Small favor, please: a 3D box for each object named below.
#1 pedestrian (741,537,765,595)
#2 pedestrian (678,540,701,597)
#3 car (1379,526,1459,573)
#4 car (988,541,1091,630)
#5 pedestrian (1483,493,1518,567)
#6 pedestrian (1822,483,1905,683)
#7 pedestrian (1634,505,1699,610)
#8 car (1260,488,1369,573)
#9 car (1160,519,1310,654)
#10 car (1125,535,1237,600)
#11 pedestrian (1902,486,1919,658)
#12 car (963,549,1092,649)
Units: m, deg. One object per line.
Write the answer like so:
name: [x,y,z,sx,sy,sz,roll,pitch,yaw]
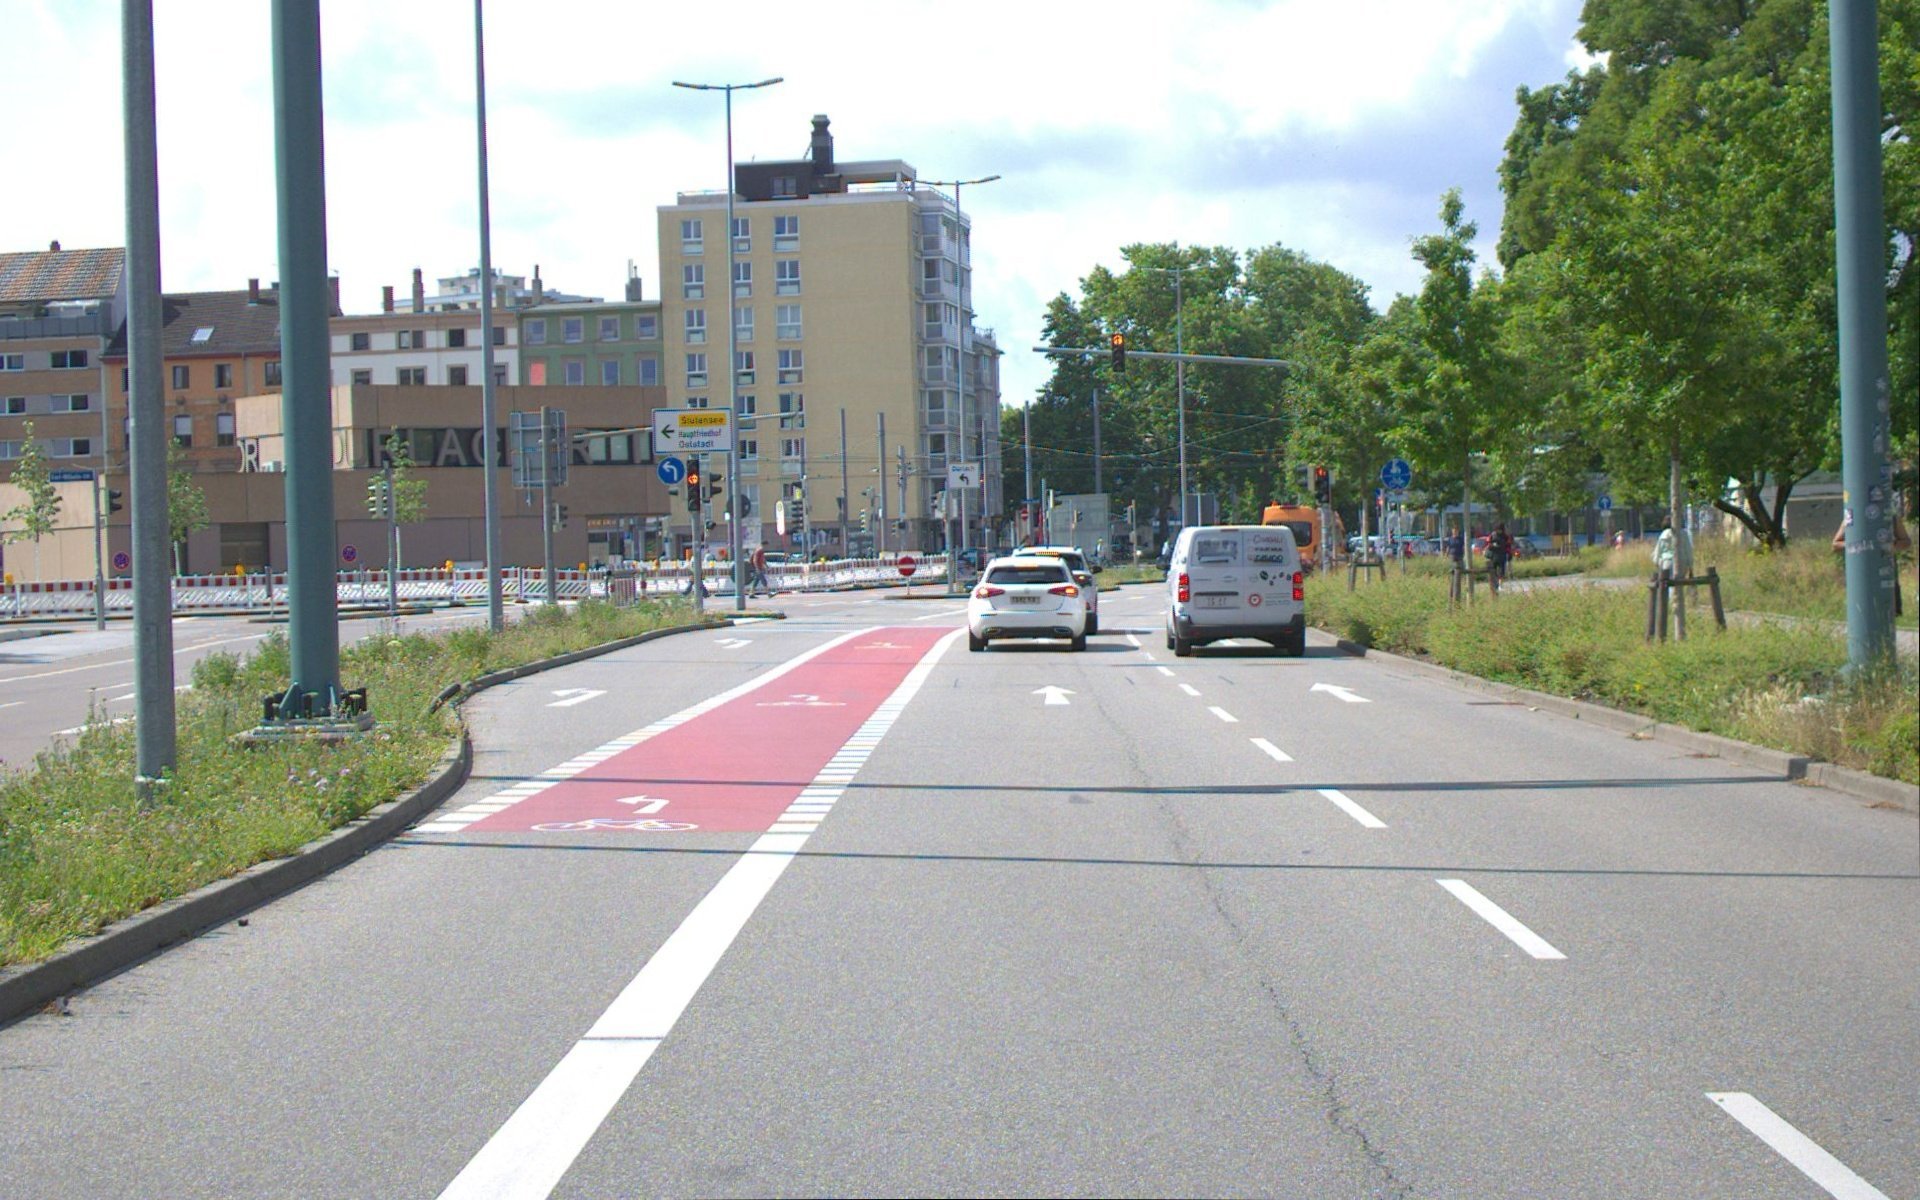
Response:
pedestrian: [-6.272,-1.027,104.146,0.525,1.727,0.623,-1,1,11]
pedestrian: [-8.315,-0.967,105.596,0.525,1.727,0.623,-1,1,11]
car: [18.800,-2.068,140.614,1.996,1.820,3.994,-2,1,27]
car: [1.445,-0.288,61.781,1.791,1.534,4.011,0,1,2]
pedestrian: [12.815,-1.665,81.511,0.742,1.729,0.679,-1,1,5]
pedestrian: [8.262,-0.162,31.448,0.567,1.795,0.639,-1,1,1]
pedestrian: [11.244,-0.674,54.724,0.868,1.633,0.721,-1,1,3]
car: [11.967,-2.349,115.745,2.133,2.771,4.632,-2,1,25]
car: [4.015,-0.244,50.909,1.942,1.863,4.825,-1,1,2]
car: [6.538,-0.949,101.298,1.996,1.809,3.995,2,1,24]
pedestrian: [9.096,-0.266,31.662,0.623,1.575,0.708,-1,1,1]
car: [1.085,-0.050,53.719,1.904,1.419,4.385,-1,1,2]
